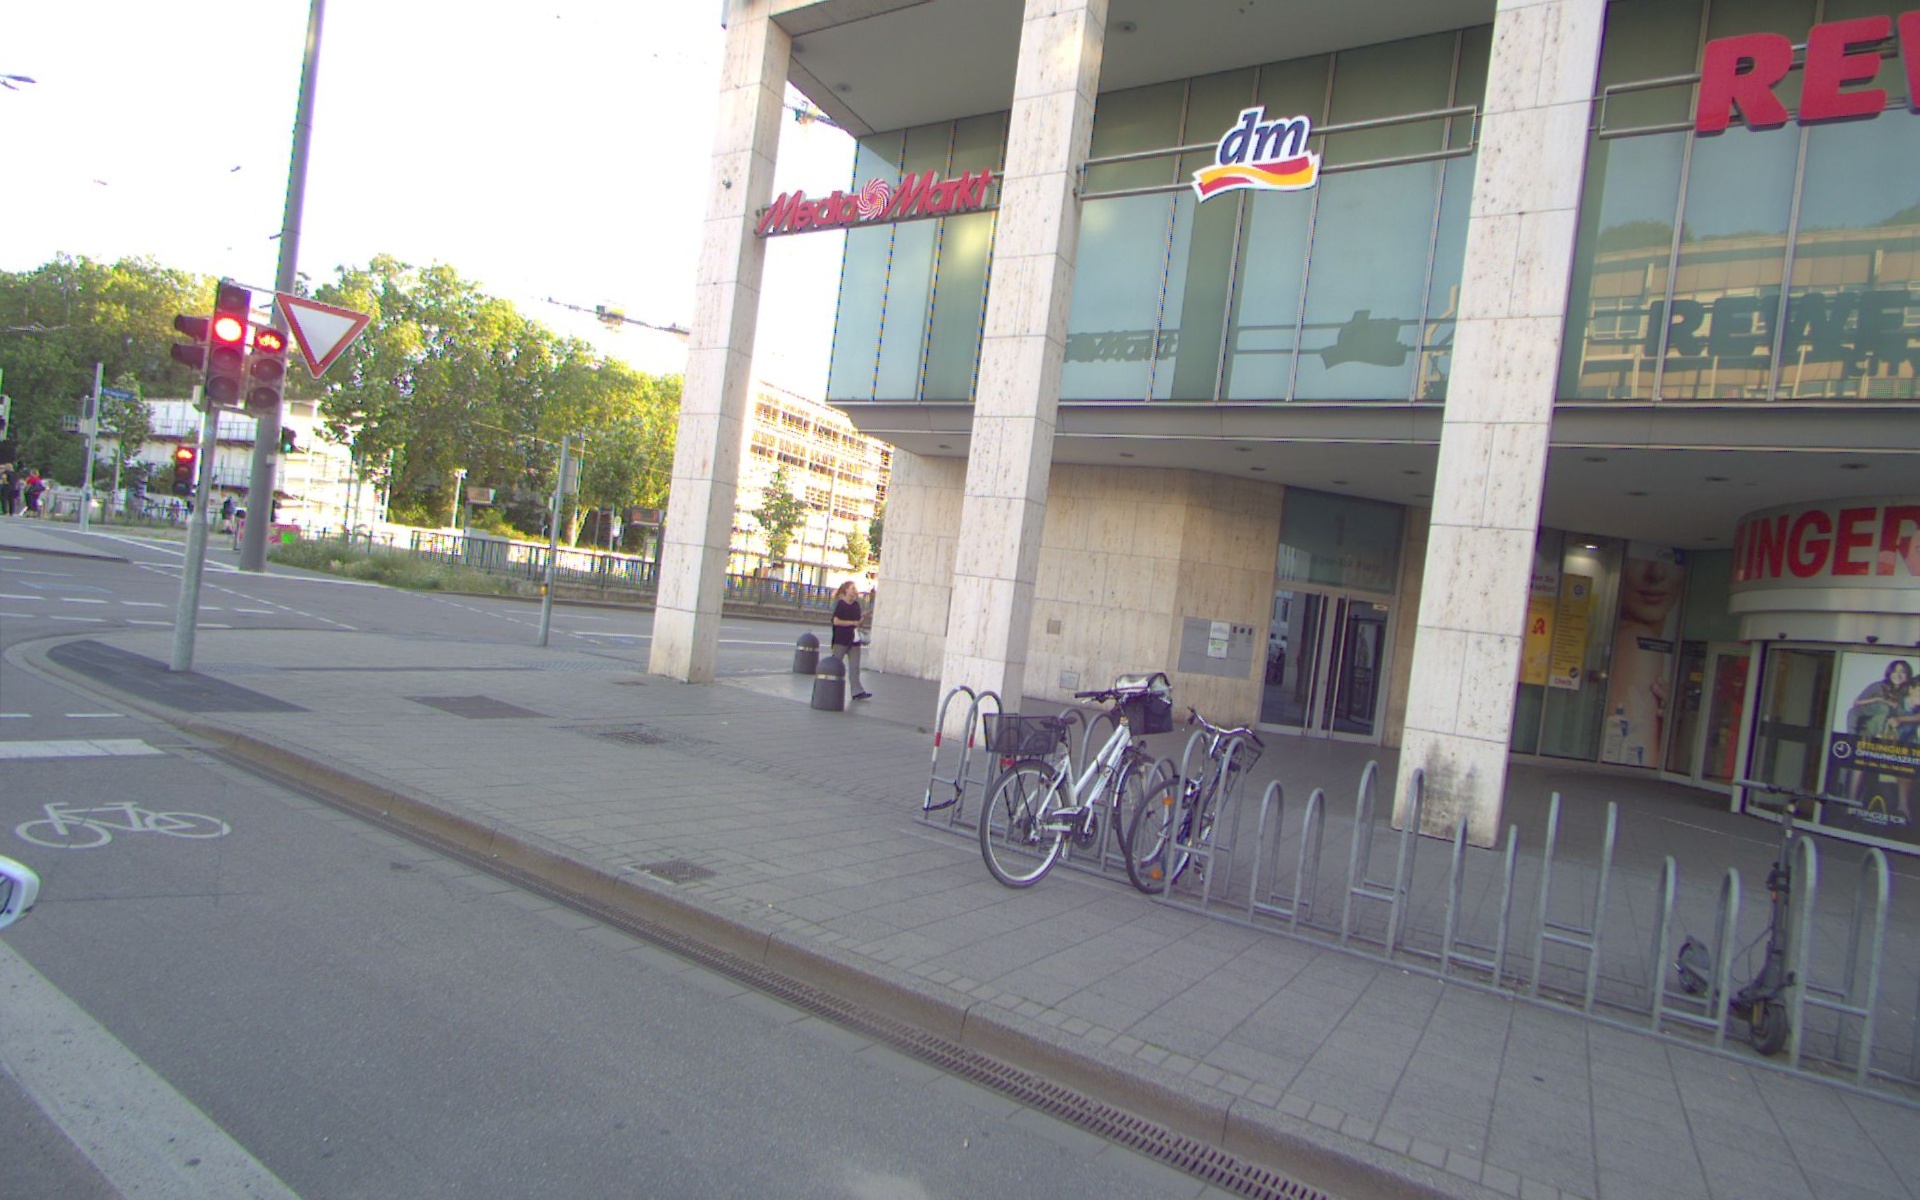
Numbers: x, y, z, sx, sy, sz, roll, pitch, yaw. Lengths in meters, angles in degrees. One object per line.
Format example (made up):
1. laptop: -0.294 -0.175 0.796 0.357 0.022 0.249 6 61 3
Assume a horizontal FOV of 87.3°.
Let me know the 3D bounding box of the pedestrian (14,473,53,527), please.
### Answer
1. pedestrian: -32.652 -3.524 35.467 0.696 1.756 0.843 8 1 44

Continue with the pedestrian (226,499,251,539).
1. pedestrian: -28.111 -3.145 39.188 0.672 1.459 0.707 6 1 -36

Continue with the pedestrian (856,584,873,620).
1. pedestrian: -5.713 0.122 60.165 0.559 2.039 0.575 7 1 28

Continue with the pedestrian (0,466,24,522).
1. pedestrian: -32.839 -3.671 34.594 0.803 1.814 0.790 7 1 -44

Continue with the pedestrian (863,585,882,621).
1. pedestrian: -5.193 0.179 59.898 0.631 2.039 0.626 7 1 28

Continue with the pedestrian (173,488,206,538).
1. pedestrian: -28.646 -3.234 37.412 0.659 1.746 0.709 7 1 -22

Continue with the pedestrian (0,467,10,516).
1. pedestrian: -33.968 -3.844 35.465 0.570 1.699 0.631 7 1 -44

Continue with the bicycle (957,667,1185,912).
1. bicycle: 0.703 1.046 5.931 0.540 1.198 1.479 8 1 36

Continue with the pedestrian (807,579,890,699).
1. pedestrian: -1.638 0.587 14.875 0.696 1.659 0.791 8 1 33

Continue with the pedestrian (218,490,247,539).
1. pedestrian: -27.817 -3.272 38.450 0.708 1.746 0.660 7 1 -41

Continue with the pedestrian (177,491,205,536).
1. pedestrian: -29.422 -3.323 38.480 0.527 1.612 0.571 8 1 32

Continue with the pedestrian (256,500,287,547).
1. pedestrian: -27.485 -3.052 40.156 0.658 1.746 0.710 8 1 38

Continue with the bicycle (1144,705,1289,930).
1. bicycle: 1.677 1.280 6.379 0.474 1.092 1.773 8 0 24

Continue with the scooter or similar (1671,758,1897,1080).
1. scooter or similar: 3.990 1.474 4.962 0.484 1.214 1.196 8 1 27
